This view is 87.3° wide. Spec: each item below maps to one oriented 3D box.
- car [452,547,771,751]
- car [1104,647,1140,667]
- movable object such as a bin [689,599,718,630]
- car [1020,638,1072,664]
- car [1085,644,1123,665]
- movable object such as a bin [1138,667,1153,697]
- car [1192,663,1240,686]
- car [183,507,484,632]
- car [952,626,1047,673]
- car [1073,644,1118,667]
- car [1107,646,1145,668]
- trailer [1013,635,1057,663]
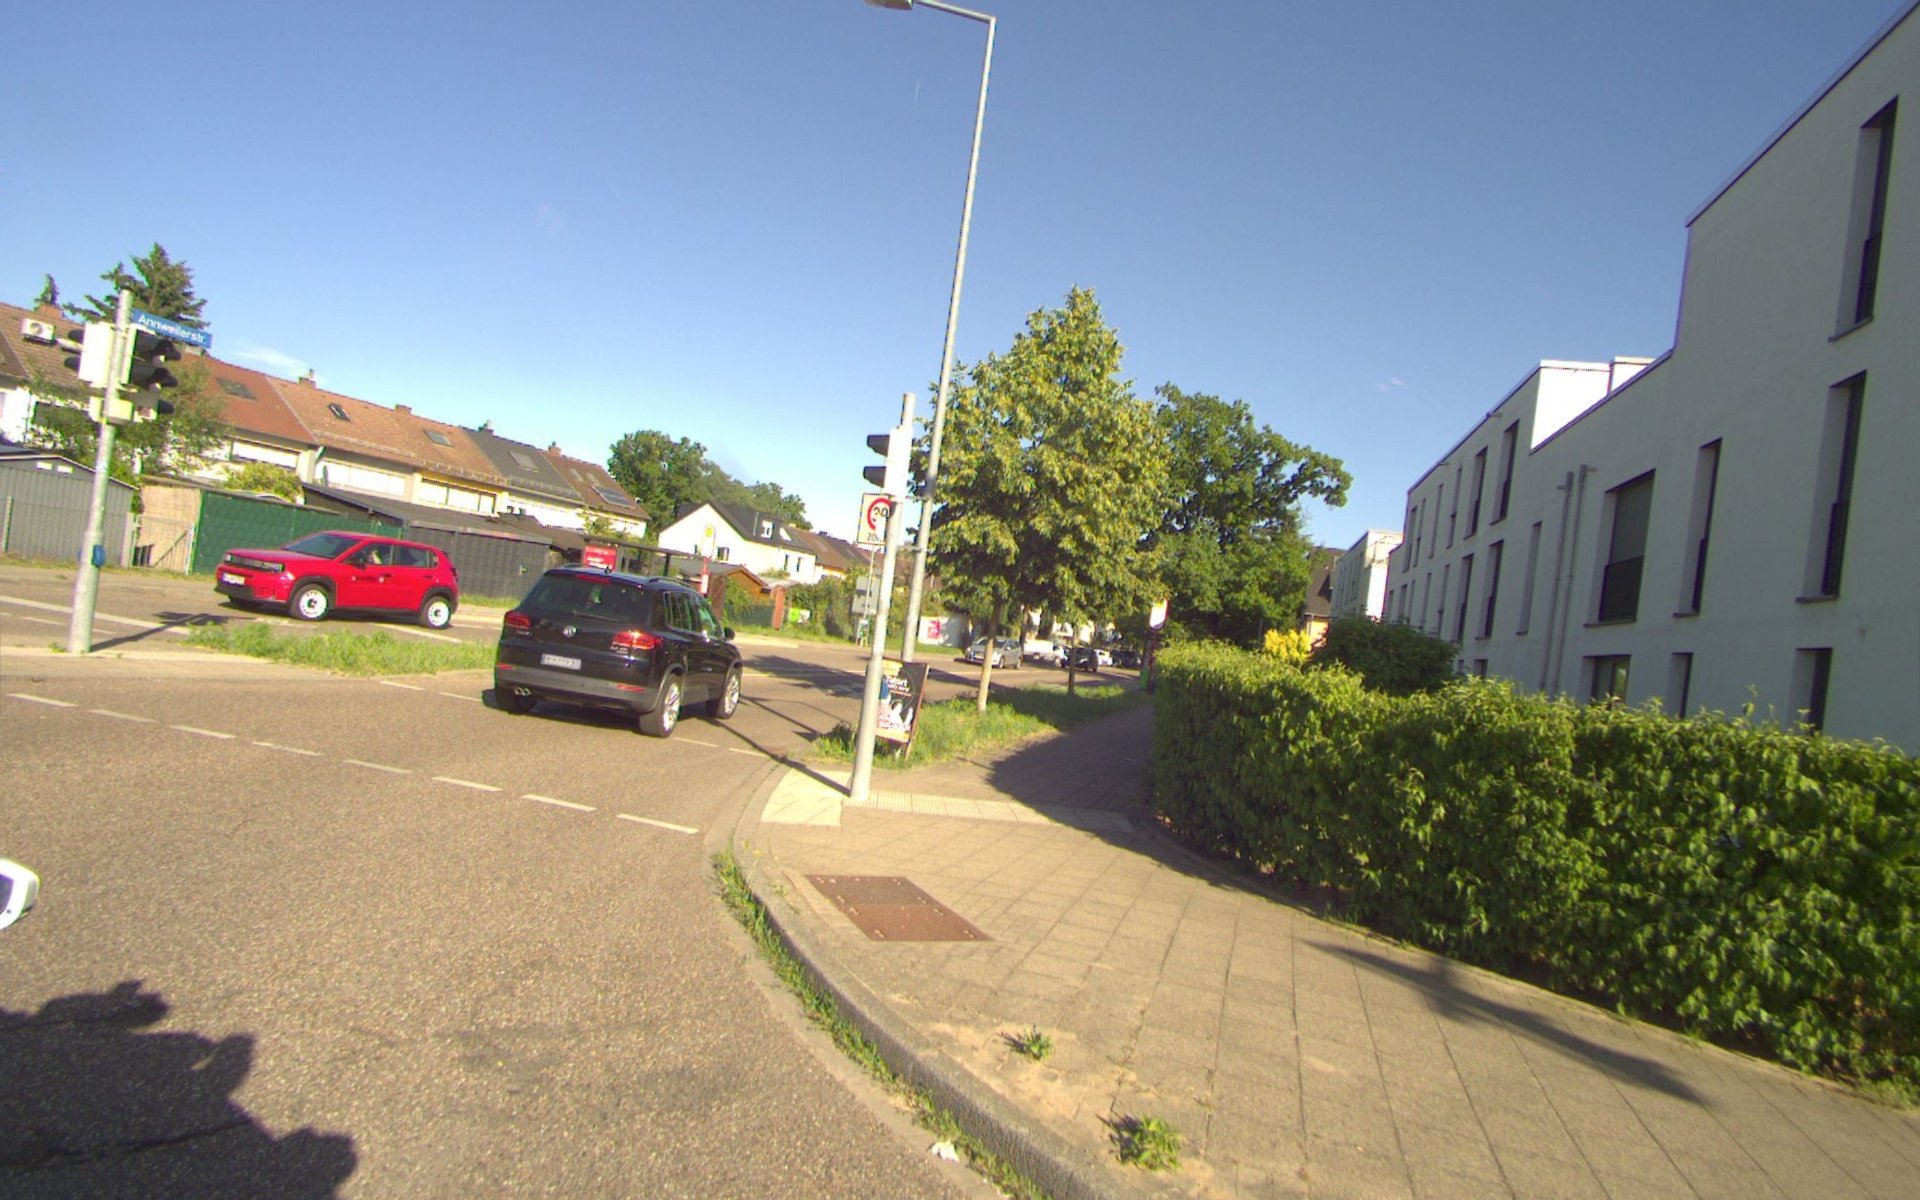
[{"bbox_3d":[-3.793,0.533,11.975,1.900,1.673,4.516,9,-1,2],"label":"car"},{"bbox_3d":[19.381,6.824,120.240,3.924,1.739,1.823,8,-2,16],"label":"car"},{"bbox_3d":[-8.953,0.508,35.106,0.584,0.979,0.558,12,1,21],"label":"movable object such as a bin"},{"bbox_3d":[6.614,3.930,77.067,3.493,1.494,1.810,7,-1,17],"label":"car"},{"bbox_3d":[15.919,6.038,111.244,3.924,1.858,1.639,7,-1,13],"label":"car"},{"bbox_3d":[6.651,2.933,36.072,0.363,1.028,0.600,7,0,8],"label":"movable object such as a bin"},{"bbox_3d":[22.568,6.564,88.690,3.924,1.384,1.848,7,-1,17],"label":"car"},{"bbox_3d":[-11.092,-0.448,18.207,1.910,1.607,4.183,8,-2,21],"label":"car"},{"bbox_3d":[1.941,2.379,47.650,2.183,1.609,4.523,8,-2,37],"label":"car"},{"bbox_3d":[13.346,5.459,99.258,3.925,1.659,2.001,8,-1,19],"label":"car"},{"bbox_3d":[20.221,6.944,122.566,4.321,1.960,1.581,8,-2,13],"label":"car"},{"bbox_3d":[5.615,3.666,75.330,2.920,1.675,1.398,7,-1,13],"label":"trailer"}]
